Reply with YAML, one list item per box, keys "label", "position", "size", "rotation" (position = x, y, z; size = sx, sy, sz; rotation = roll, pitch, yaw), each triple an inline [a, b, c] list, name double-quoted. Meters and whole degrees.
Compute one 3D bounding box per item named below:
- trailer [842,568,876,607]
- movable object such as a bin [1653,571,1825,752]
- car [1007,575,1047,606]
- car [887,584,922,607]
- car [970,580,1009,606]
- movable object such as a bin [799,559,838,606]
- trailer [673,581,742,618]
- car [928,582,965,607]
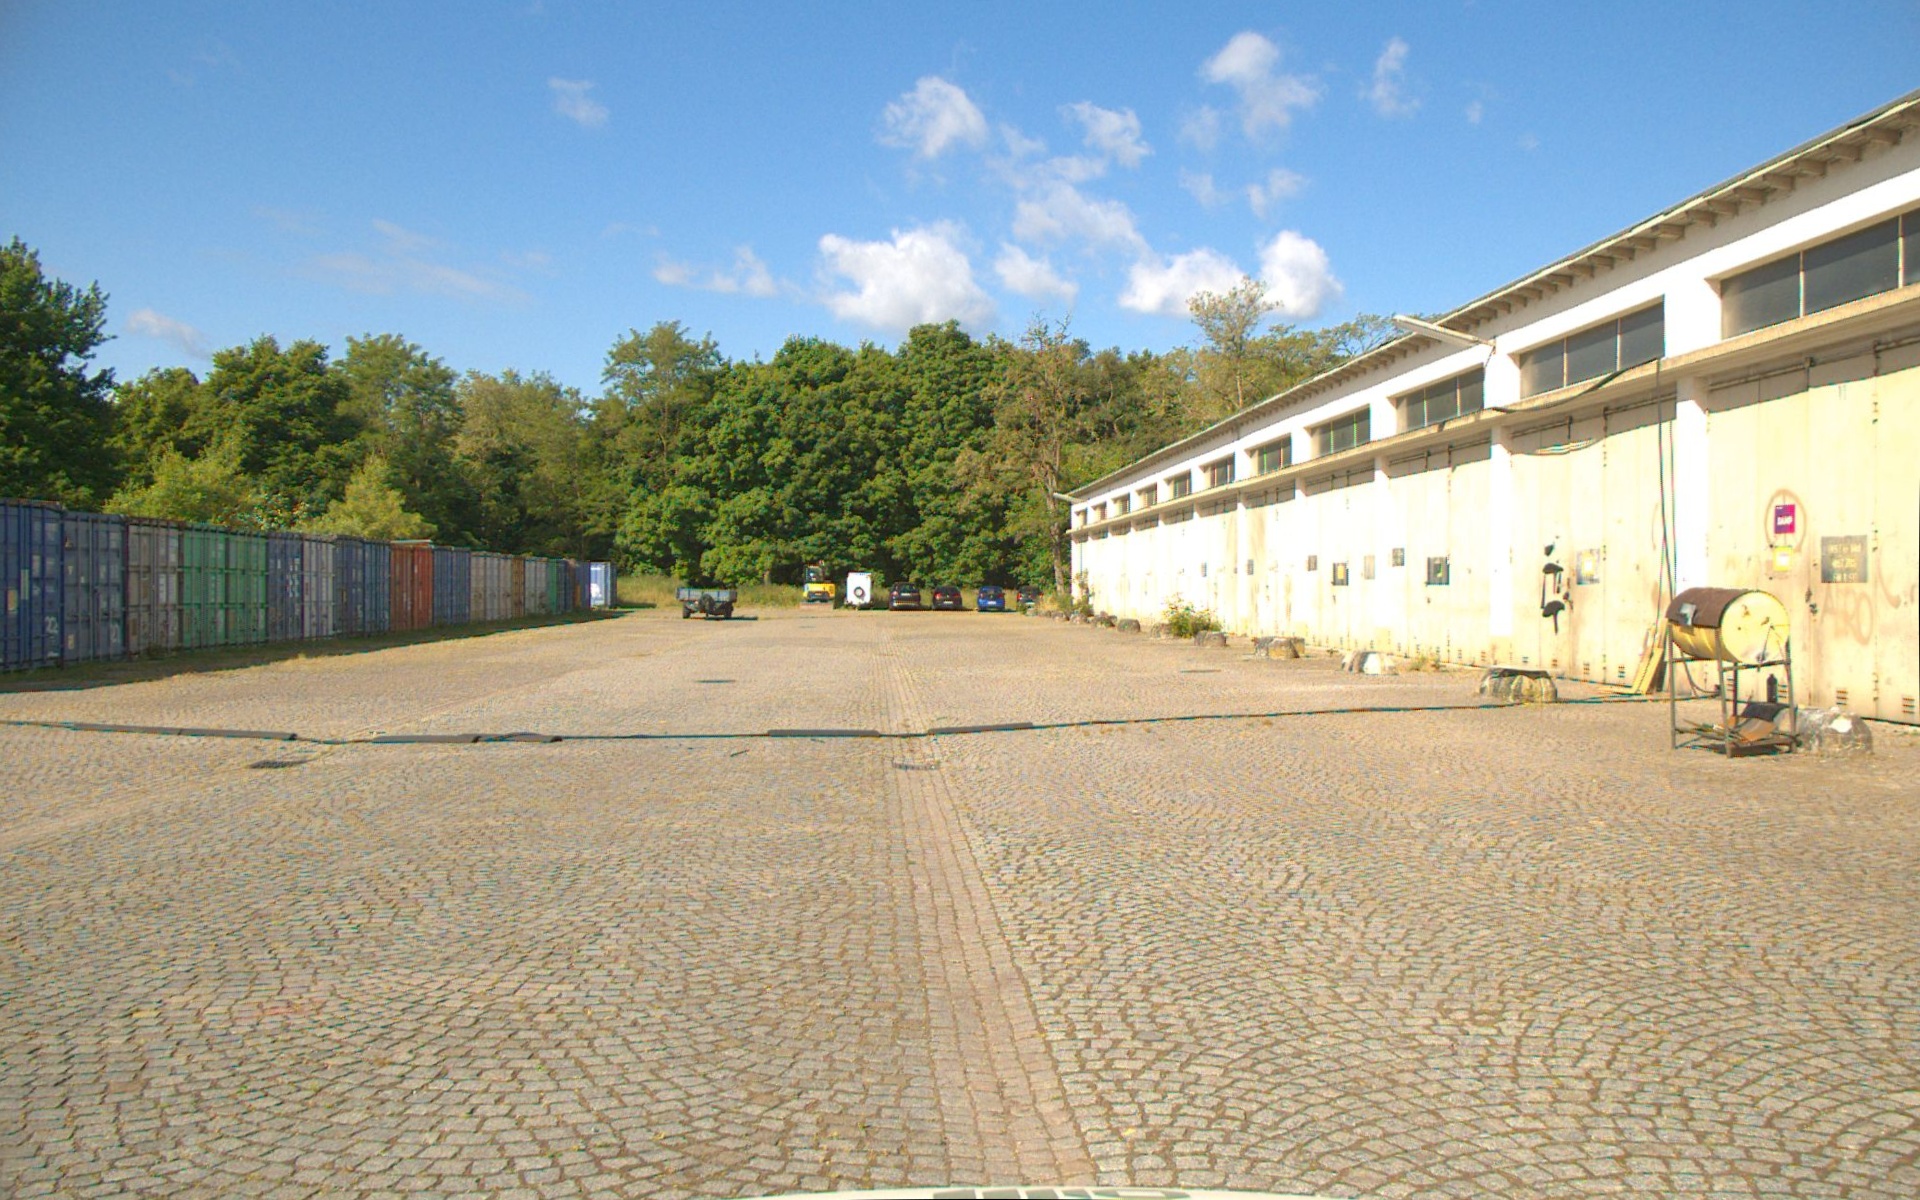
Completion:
- label: "trailer"
  position: [-5.951, -0.749, 97.425]
  size: [1.954, 2.200, 4.428]
  rotation: [-1, 1, -4]
- label: "movable object such as a bin"
  position: [6.408, 0.480, 13.667]
  size: [0.857, 1.426, 1.100]
  rotation: [0, 0, -4]
- label: "car"
  position: [3.965, -0.570, 98.411]
  size: [1.954, 1.803, 3.997]
  rotation: [-1, 1, -3]
- label: "car"
  position: [-3.266, -0.283, 96.357]
  size: [1.954, 1.280, 3.997]
  rotation: [-1, 1, -3]
- label: "car"
  position: [1.723, -0.409, 97.028]
  size: [1.954, 1.491, 3.997]
  rotation: [-1, 1, -3]
- label: "movable object such as a bin"
  position: [-8.407, -1.069, 98.030]
  size: [2.189, 2.703, 3.996]
  rotation: [-1, 1, -6]
- label: "trailer"
  position: [-11.926, -0.040, 78.481]
  size: [2.736, 1.675, 5.616]
  rotation: [-1, 0, -4]
- label: "car"
  position: [-0.813, -0.340, 96.882]
  size: [1.954, 1.449, 3.997]
  rotation: [-1, 1, -3]
